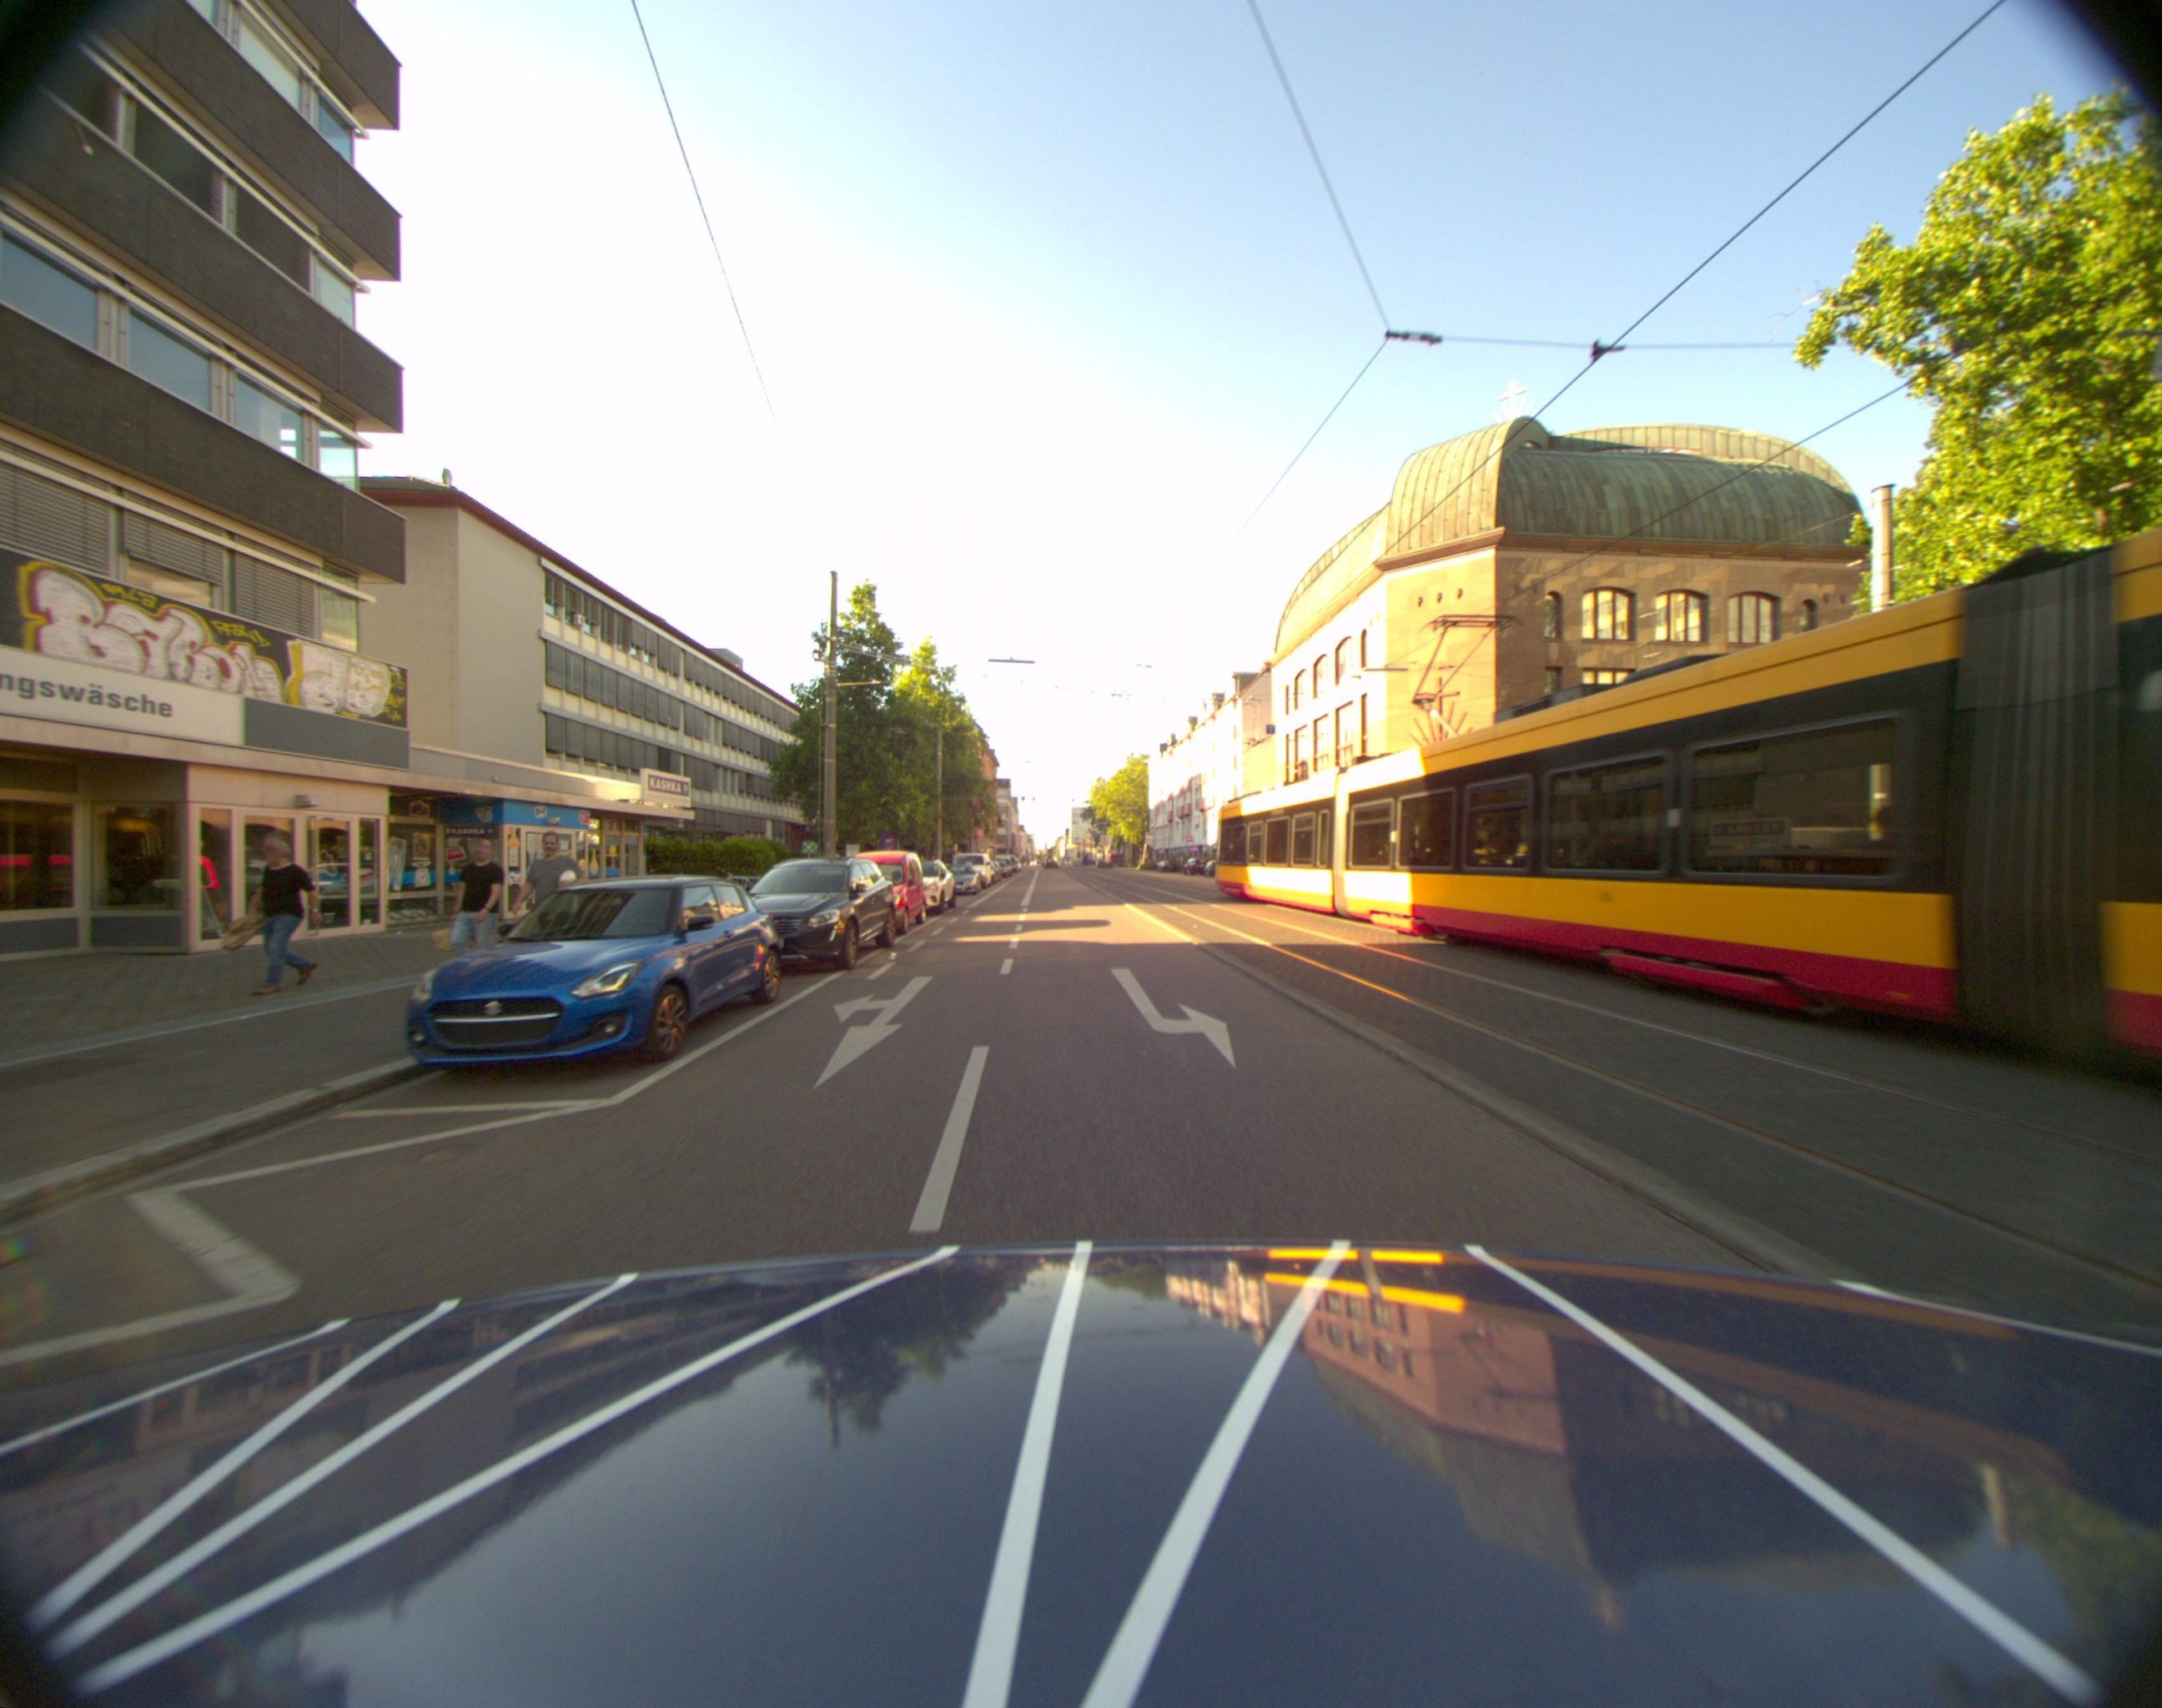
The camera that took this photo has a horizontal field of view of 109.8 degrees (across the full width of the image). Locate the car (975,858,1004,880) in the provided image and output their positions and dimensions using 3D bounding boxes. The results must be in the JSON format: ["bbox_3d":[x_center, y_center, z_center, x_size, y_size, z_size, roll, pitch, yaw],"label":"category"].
[{"bbox_3d":[-6.342,1.012,52.855,1.597,1.485,3.901,-1,0,-1],"label":"car"}]

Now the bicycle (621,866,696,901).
[{"bbox_3d":[-13.648,0.961,24.582,2.021,1.089,0.637,1,0,-10],"label":"bicycle"}]

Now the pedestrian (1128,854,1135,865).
[{"bbox_3d":[8.297,0.844,125.173,1.096,1.768,1.253,1,0,2],"label":"pedestrian"}]

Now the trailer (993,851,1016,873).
[{"bbox_3d":[-7.646,0.773,76.555,1.784,2.136,5.315,-1,0,0],"label":"trailer"}]

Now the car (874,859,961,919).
[{"bbox_3d":[-4.876,0.989,23.180,1.791,1.586,4.325,-2,0,-2],"label":"car"}]

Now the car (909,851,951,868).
[{"bbox_3d":[-16.598,0.606,83.653,4.369,1.662,1.588,3,0,-7],"label":"car"}]

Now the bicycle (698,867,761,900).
[{"bbox_3d":[-11.860,1.000,25.686,1.886,1.090,0.469,0,1,-5],"label":"bicycle"}]

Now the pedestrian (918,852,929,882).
[{"bbox_3d":[-9.101,0.773,43.803,0.494,1.703,0.437,2,0,-3],"label":"pedestrian"}]

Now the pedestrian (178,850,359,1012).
[{"bbox_3d":[-9.182,0.833,8.648,0.903,1.703,1.032,2,0,-3],"label":"pedestrian"}]

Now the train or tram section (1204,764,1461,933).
[{"bbox_3d":[6.297,-0.121,22.160,2.766,3.530,12.463,1,0,-3],"label":"train or tram section"}]

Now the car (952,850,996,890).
[{"bbox_3d":[-5.825,0.842,41.910,1.882,2.009,4.904,-1,0,-3],"label":"car"}]

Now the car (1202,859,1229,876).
[{"bbox_3d":[12.300,1.219,69.688,1.646,1.392,3.682,-1,0,-2],"label":"car"}]

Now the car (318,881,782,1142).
[{"bbox_3d":[-4.174,1.083,6.827,1.642,1.484,3.793,-2,0,-4],"label":"car"}]

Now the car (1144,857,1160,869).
[{"bbox_3d":[10.343,1.263,111.173,1.931,1.787,4.383,0,0,0],"label":"car"}]

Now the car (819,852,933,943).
[{"bbox_3d":[-4.579,0.885,17.566,1.680,1.797,4.247,-1,0,-3],"label":"car"}]

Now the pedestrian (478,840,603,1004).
[{"bbox_3d":[-6.545,0.785,9.261,0.796,1.888,1.032,1,0,-3],"label":"pedestrian"}]

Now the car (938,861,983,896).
[{"bbox_3d":[-5.536,1.101,35.436,1.679,1.396,4.165,-2,1,-4],"label":"car"}]

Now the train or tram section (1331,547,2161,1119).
[{"bbox_3d":[6.835,-0.125,10.312,2.683,3.530,11.123,1,0,-3],"label":"train or tram section"}]

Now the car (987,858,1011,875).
[{"bbox_3d":[-7.013,1.049,65.508,1.784,1.420,4.211,-1,0,-3],"label":"car"}]

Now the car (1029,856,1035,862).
[{"bbox_3d":[-13.301,1.227,205.267,1.420,1.612,3.626,-1,0,-3],"label":"car"}]

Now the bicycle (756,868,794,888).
[{"bbox_3d":[-14.714,1.150,36.543,1.622,0.954,0.367,0,1,-32],"label":"bicycle"}]

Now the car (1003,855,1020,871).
[{"bbox_3d":[-7.993,1.007,87.321,1.697,1.832,4.694,-1,0,-3],"label":"car"}]

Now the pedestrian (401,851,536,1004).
[{"bbox_3d":[-7.369,0.849,9.205,0.813,1.746,1.032,1,0,-3],"label":"pedestrian"}]

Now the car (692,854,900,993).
[{"bbox_3d":[-4.277,0.910,12.256,1.825,1.747,4.473,-1,1,-3],"label":"car"}]

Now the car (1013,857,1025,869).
[{"bbox_3d":[-8.066,1.166,99.183,1.420,1.425,3.871,-1,0,-3],"label":"car"}]

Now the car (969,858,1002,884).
[{"bbox_3d":[-6.037,1.021,48.281,1.688,1.484,3.910,-2,1,-2],"label":"car"}]

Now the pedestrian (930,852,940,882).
[{"bbox_3d":[-8.416,0.758,43.802,0.494,1.703,0.437,2,0,-3],"label":"pedestrian"}]

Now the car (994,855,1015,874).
[{"bbox_3d":[-7.196,0.944,71.668,1.784,1.735,4.473,-1,0,-4],"label":"car"}]

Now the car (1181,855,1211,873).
[{"bbox_3d":[11.522,1.006,76.200,1.965,1.690,4.559,-1,0,-4],"label":"car"}]

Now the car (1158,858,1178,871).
[{"bbox_3d":[10.872,1.324,95.329,1.829,1.500,4.560,-1,0,-3],"label":"car"}]
